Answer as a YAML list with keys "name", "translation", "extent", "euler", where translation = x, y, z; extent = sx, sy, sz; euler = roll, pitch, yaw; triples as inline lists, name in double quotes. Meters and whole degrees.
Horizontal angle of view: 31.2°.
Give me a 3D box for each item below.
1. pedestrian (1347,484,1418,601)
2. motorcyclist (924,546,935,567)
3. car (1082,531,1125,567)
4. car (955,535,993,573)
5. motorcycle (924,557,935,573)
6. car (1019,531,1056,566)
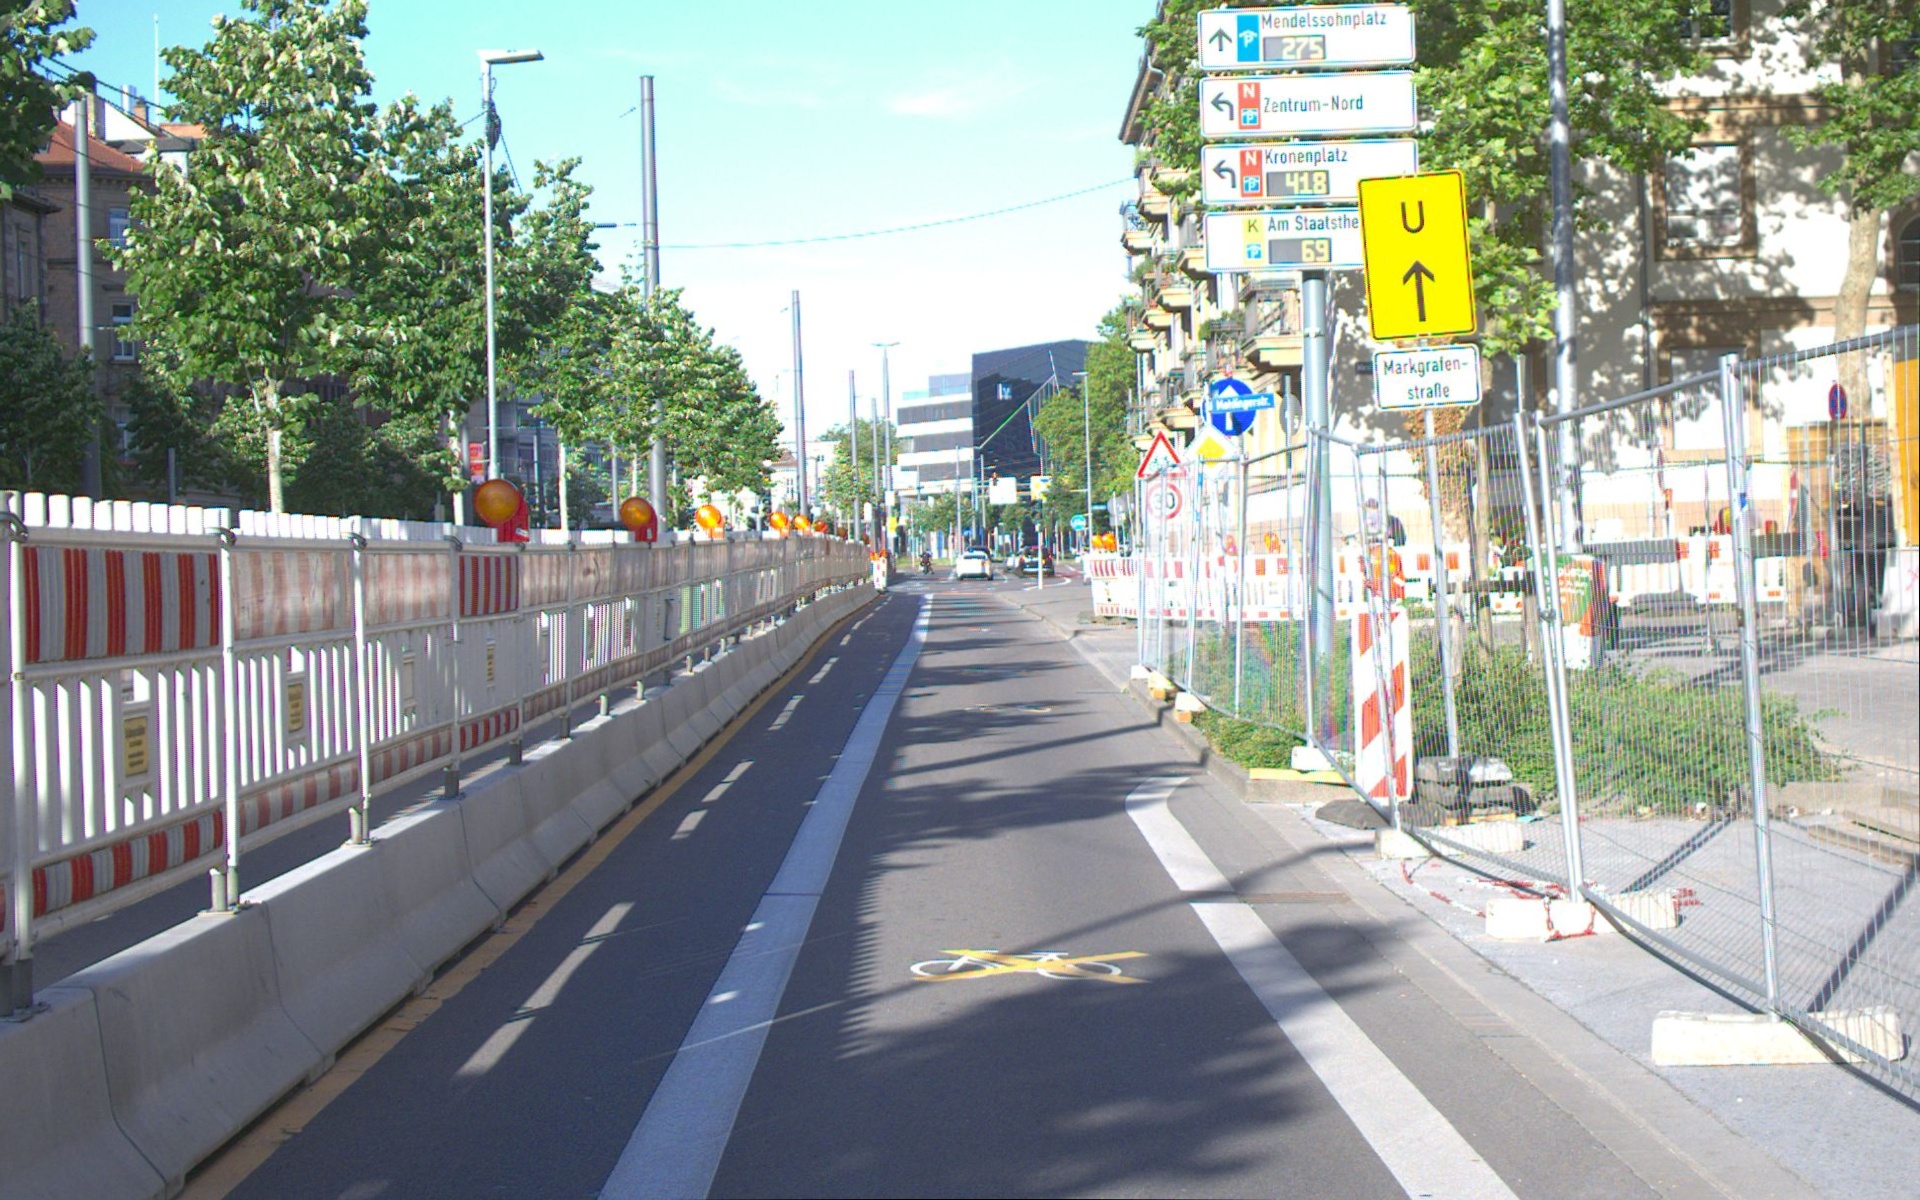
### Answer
- name: "pedestrian"
  translation: [6.405, -0.866, 52.122]
  extent: [0.777, 1.740, 0.669]
  euler: [-1, 2, 41]
- name: "motorcyclist"
  translation: [-1.891, -2.707, 211.855]
  extent: [0.631, 1.258, 0.606]
  euler: [-2, 1, 0]
- name: "car"
  translation: [6.799, -2.420, 163.206]
  extent: [1.883, 1.584, 3.668]
  euler: [-2, 1, 1]
- name: "car"
  translation: [0.719, -2.400, 178.602]
  extent: [1.883, 1.836, 3.668]
  euler: [-2, 1, 0]
- name: "motorcycle"
  translation: [-1.874, -2.160, 211.792]
  extent: [0.631, 0.893, 1.621]
  euler: [-2, 1, 0]
- name: "car"
  translation: [4.274, -2.844, 190.498]
  extent: [1.883, 1.836, 3.668]
  euler: [-2, 1, 0]
